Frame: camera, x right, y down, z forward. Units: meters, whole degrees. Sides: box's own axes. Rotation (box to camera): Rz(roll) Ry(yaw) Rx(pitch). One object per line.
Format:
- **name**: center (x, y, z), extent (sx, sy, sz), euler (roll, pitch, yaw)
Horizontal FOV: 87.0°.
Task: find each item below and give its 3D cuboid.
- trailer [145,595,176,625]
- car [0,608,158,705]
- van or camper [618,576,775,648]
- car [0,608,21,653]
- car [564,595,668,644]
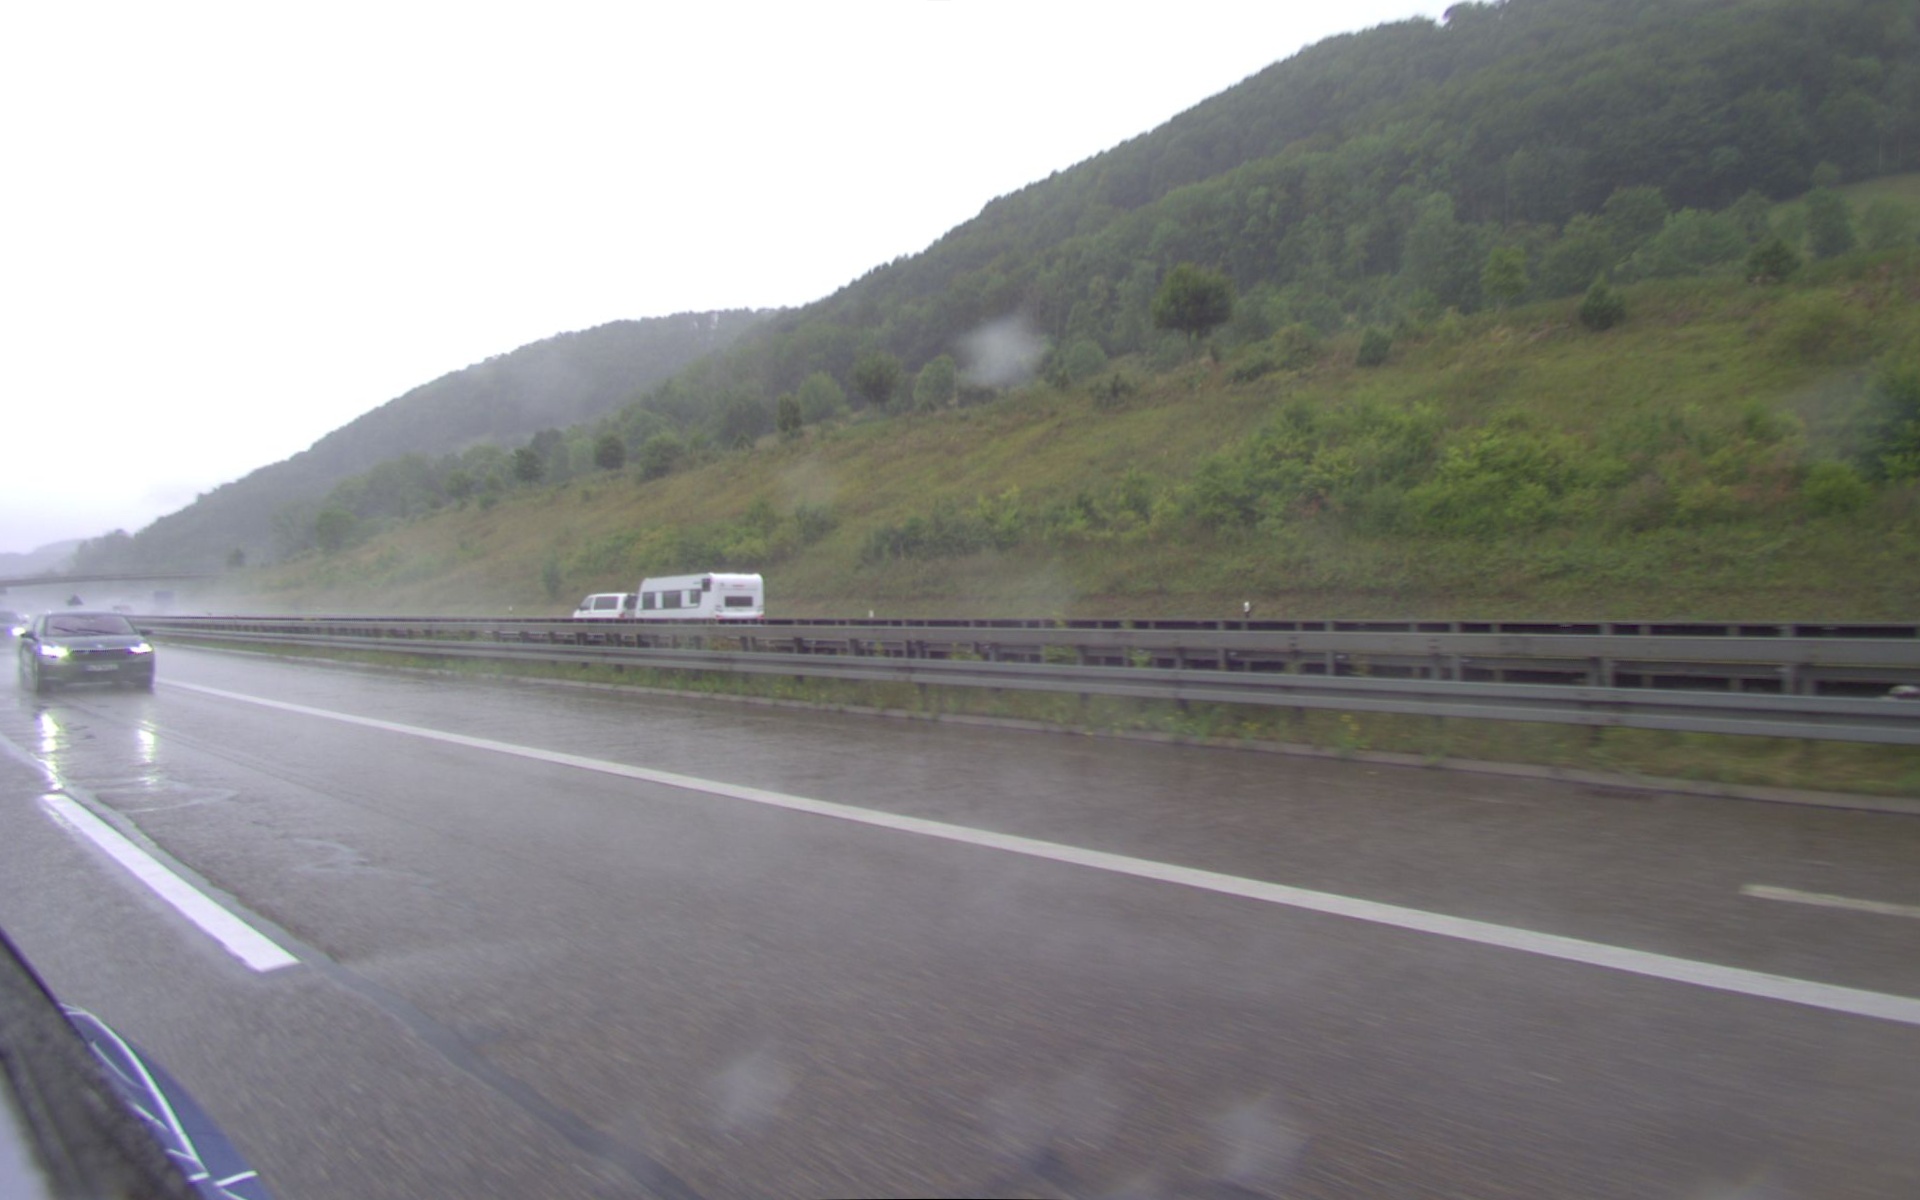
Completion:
- **trailer**: center (-135.124, 1.716, 170.966), extent (2.704, 4.821, 14.054), euler (-1, 0, -44)
- **car**: center (-18.297, 1.051, 20.850), extent (4.908, 1.696, 1.972), euler (-1, 1, 42)
- **van or camper**: center (-10.436, 0.465, 39.607), extent (7.203, 2.583, 2.319), euler (-1, -1, 42)
- **car**: center (-38.607, 1.215, 40.045), extent (3.748, 1.715, 1.790), euler (-1, 1, 43)
- **car**: center (-14.969, 0.839, 43.867), extent (5.177, 2.030, 1.972), euler (-1, -1, 42)
